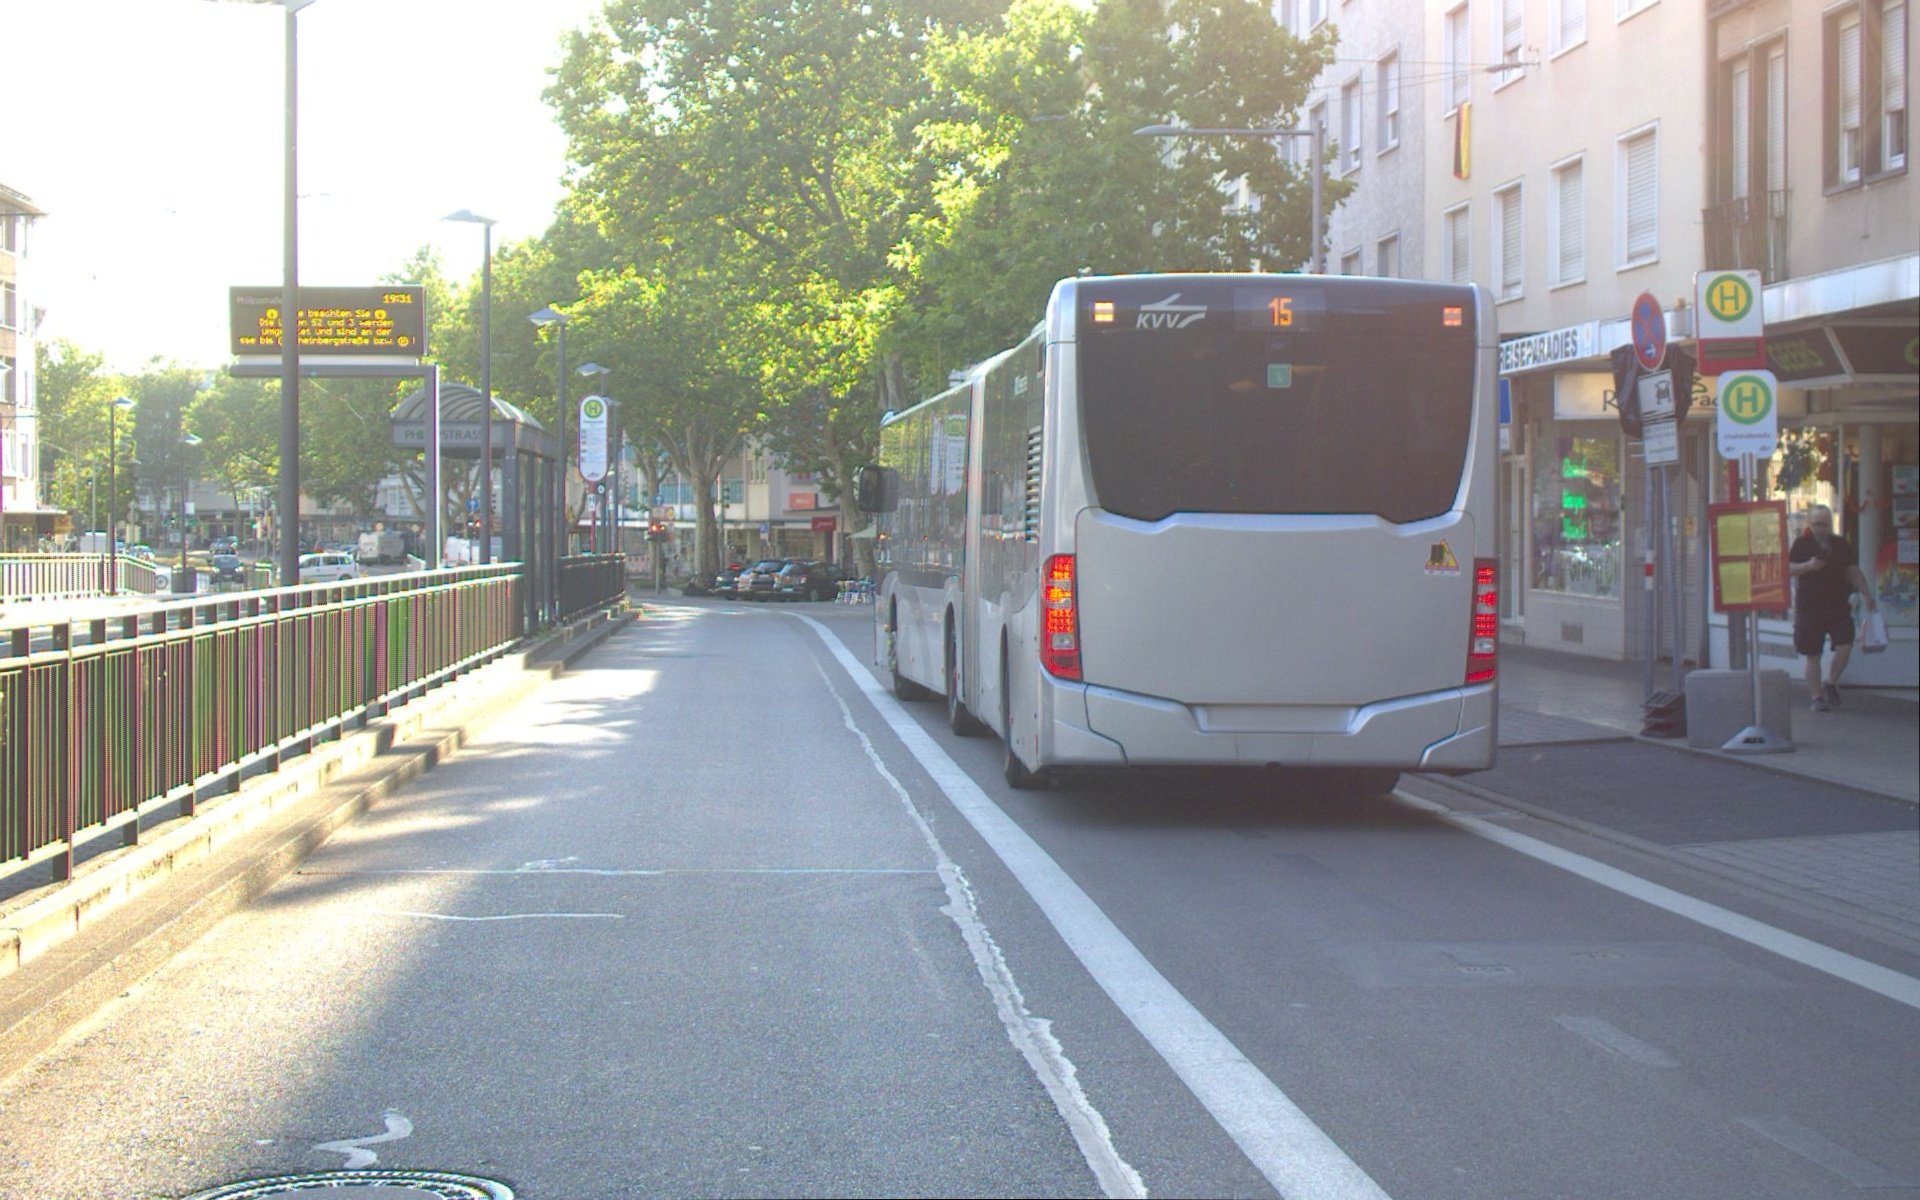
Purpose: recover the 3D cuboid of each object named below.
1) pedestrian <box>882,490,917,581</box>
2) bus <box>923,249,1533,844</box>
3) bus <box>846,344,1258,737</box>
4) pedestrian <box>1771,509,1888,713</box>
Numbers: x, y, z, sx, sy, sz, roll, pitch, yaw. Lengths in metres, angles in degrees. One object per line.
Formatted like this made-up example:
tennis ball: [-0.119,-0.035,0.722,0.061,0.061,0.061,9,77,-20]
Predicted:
pedestrian: [-1.706,-1.811,96.950,0.889,2.537,1.163,0,1,4]
bus: [1.371,-0.369,22.853,2.696,3.107,9.383,1,1,-4]
bus: [0.594,-0.563,32.006,2.696,3.107,9.072,1,1,-5]
pedestrian: [7.060,0.081,27.940,0.723,1.627,0.766,0,1,-3]
